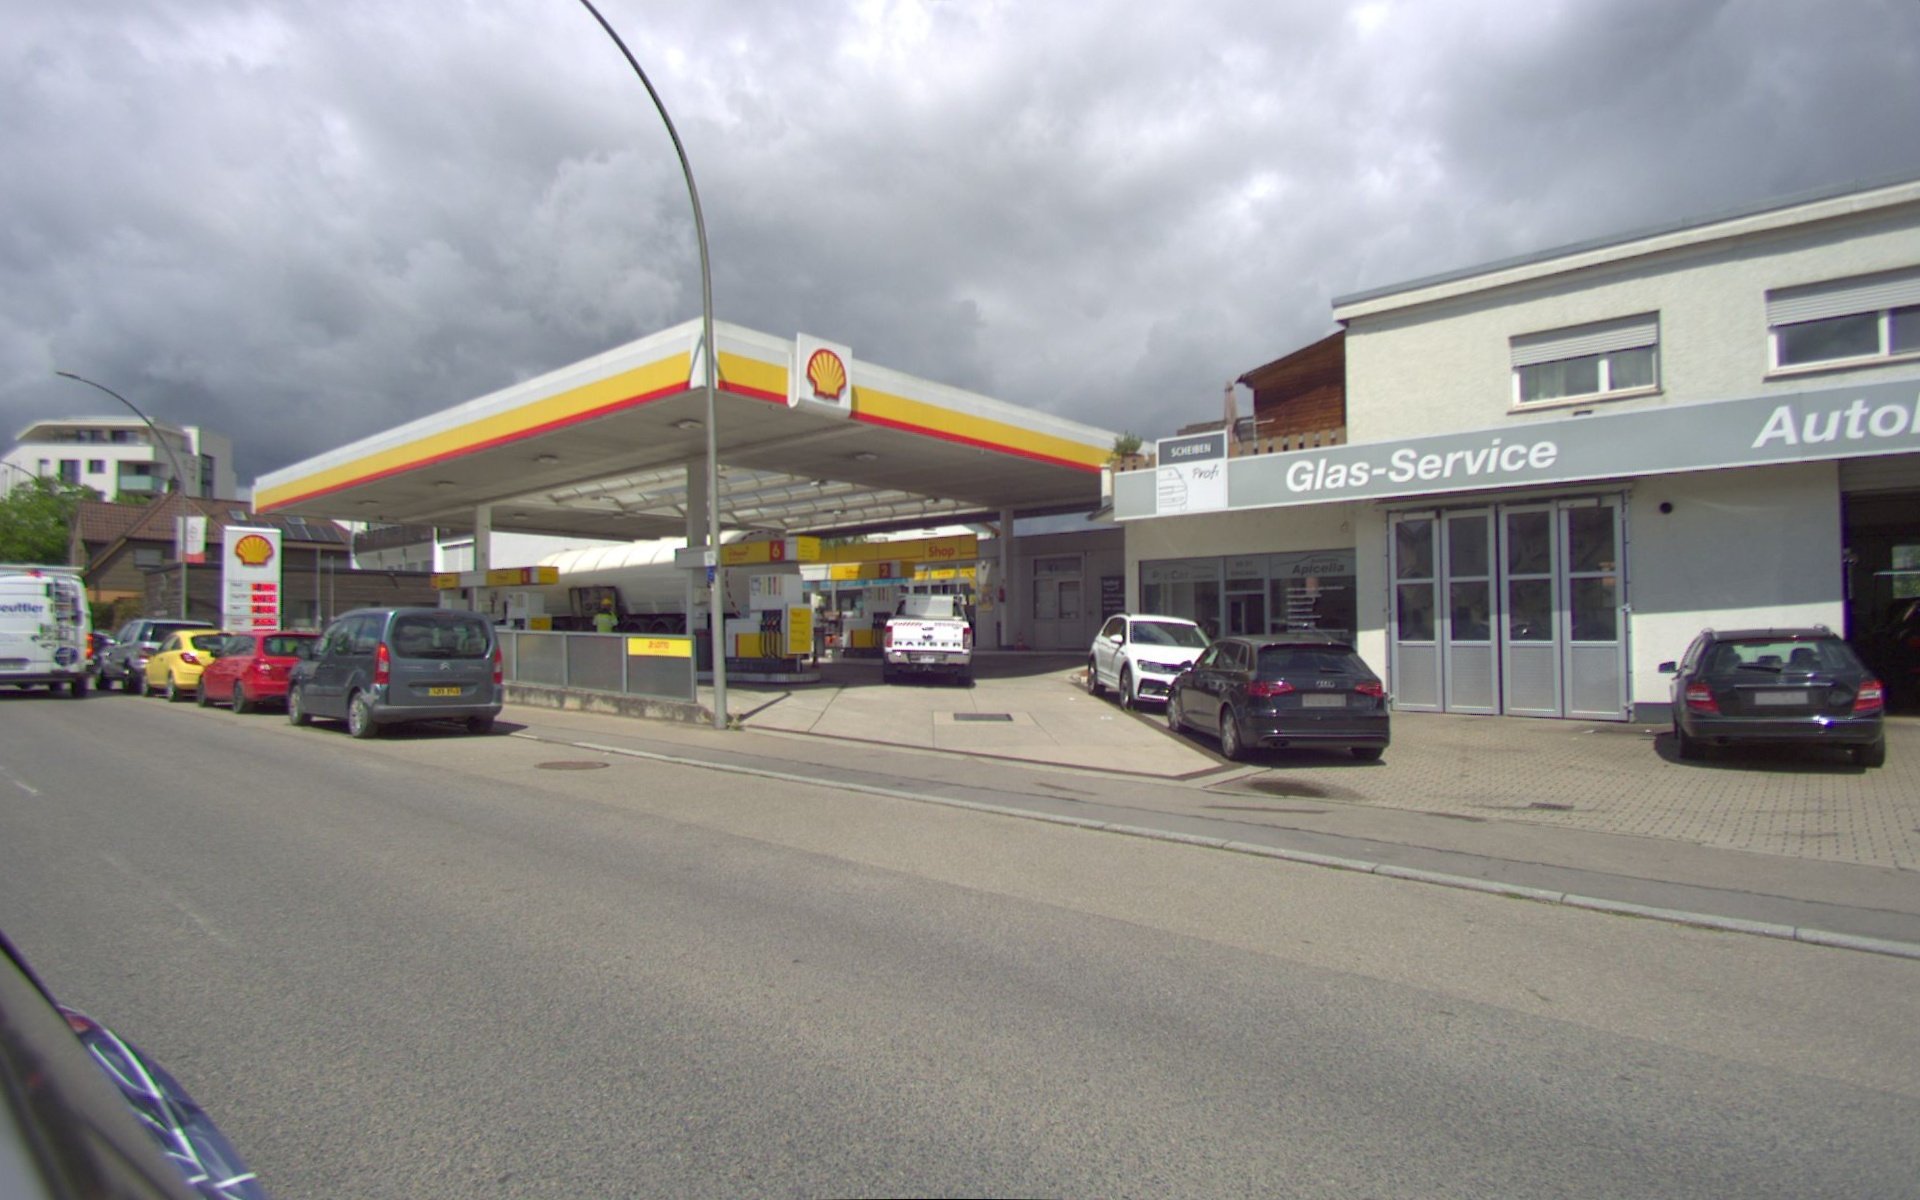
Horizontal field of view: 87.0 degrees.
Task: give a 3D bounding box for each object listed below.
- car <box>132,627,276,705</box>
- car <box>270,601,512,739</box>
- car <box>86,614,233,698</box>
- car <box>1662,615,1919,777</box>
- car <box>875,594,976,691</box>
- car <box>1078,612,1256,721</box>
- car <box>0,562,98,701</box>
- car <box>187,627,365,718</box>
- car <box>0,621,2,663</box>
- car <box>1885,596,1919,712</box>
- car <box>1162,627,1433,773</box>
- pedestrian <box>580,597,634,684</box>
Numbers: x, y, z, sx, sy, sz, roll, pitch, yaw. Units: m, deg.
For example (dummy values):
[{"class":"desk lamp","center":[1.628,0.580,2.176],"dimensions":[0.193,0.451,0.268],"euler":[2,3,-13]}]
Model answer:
[{"class":"car","center":[-16.335,1.398,21.806],"dimensions":[3.944,1.526,1.645],"euler":[-2,-6,42]},{"class":"car","center":[-8.455,0.996,14.894],"dimensions":[4.188,1.751,1.711],"euler":[-2,-6,41]},{"class":"car","center":[-19.712,1.368,24.870],"dimensions":[4.311,1.882,1.767],"euler":[-1,-6,38]},{"class":"car","center":[9.437,0.967,11.762],"dimensions":[1.971,1.504,4.359],"euler":[-3,-3,36]},{"class":"car","center":[-0.712,0.870,22.098],"dimensions":[1.947,1.866,4.983],"euler":[0,-1,-1]},{"class":"car","center":[3.568,1.099,18.348],"dimensions":[1.946,1.623,4.417],"euler":[4,-1,-4]},{"class":"car","center":[-21.175,0.712,22.569],"dimensions":[6.161,2.787,1.971],"euler":[-2,-4,41]},{"class":"car","center":[-12.839,1.326,18.914],"dimensions":[4.188,1.526,1.645],"euler":[-2,-6,41]},{"class":"car","center":[-52.499,2.347,53.887],"dimensions":[4.532,2.196,1.766],"euler":[-5,-3,41]},{"class":"car","center":[15.445,0.769,15.190],"dimensions":[1.867,1.630,3.951],"euler":[-1,0,37]},{"class":"car","center":[3.933,1.105,12.670],"dimensions":[1.772,1.501,4.340],"euler":[0,-2,-2]},{"class":"pedestrian","center":[-9.289,1.047,26.647],"dimensions":[1.011,2.195,0.928],"euler":[-1,0,40]}]
